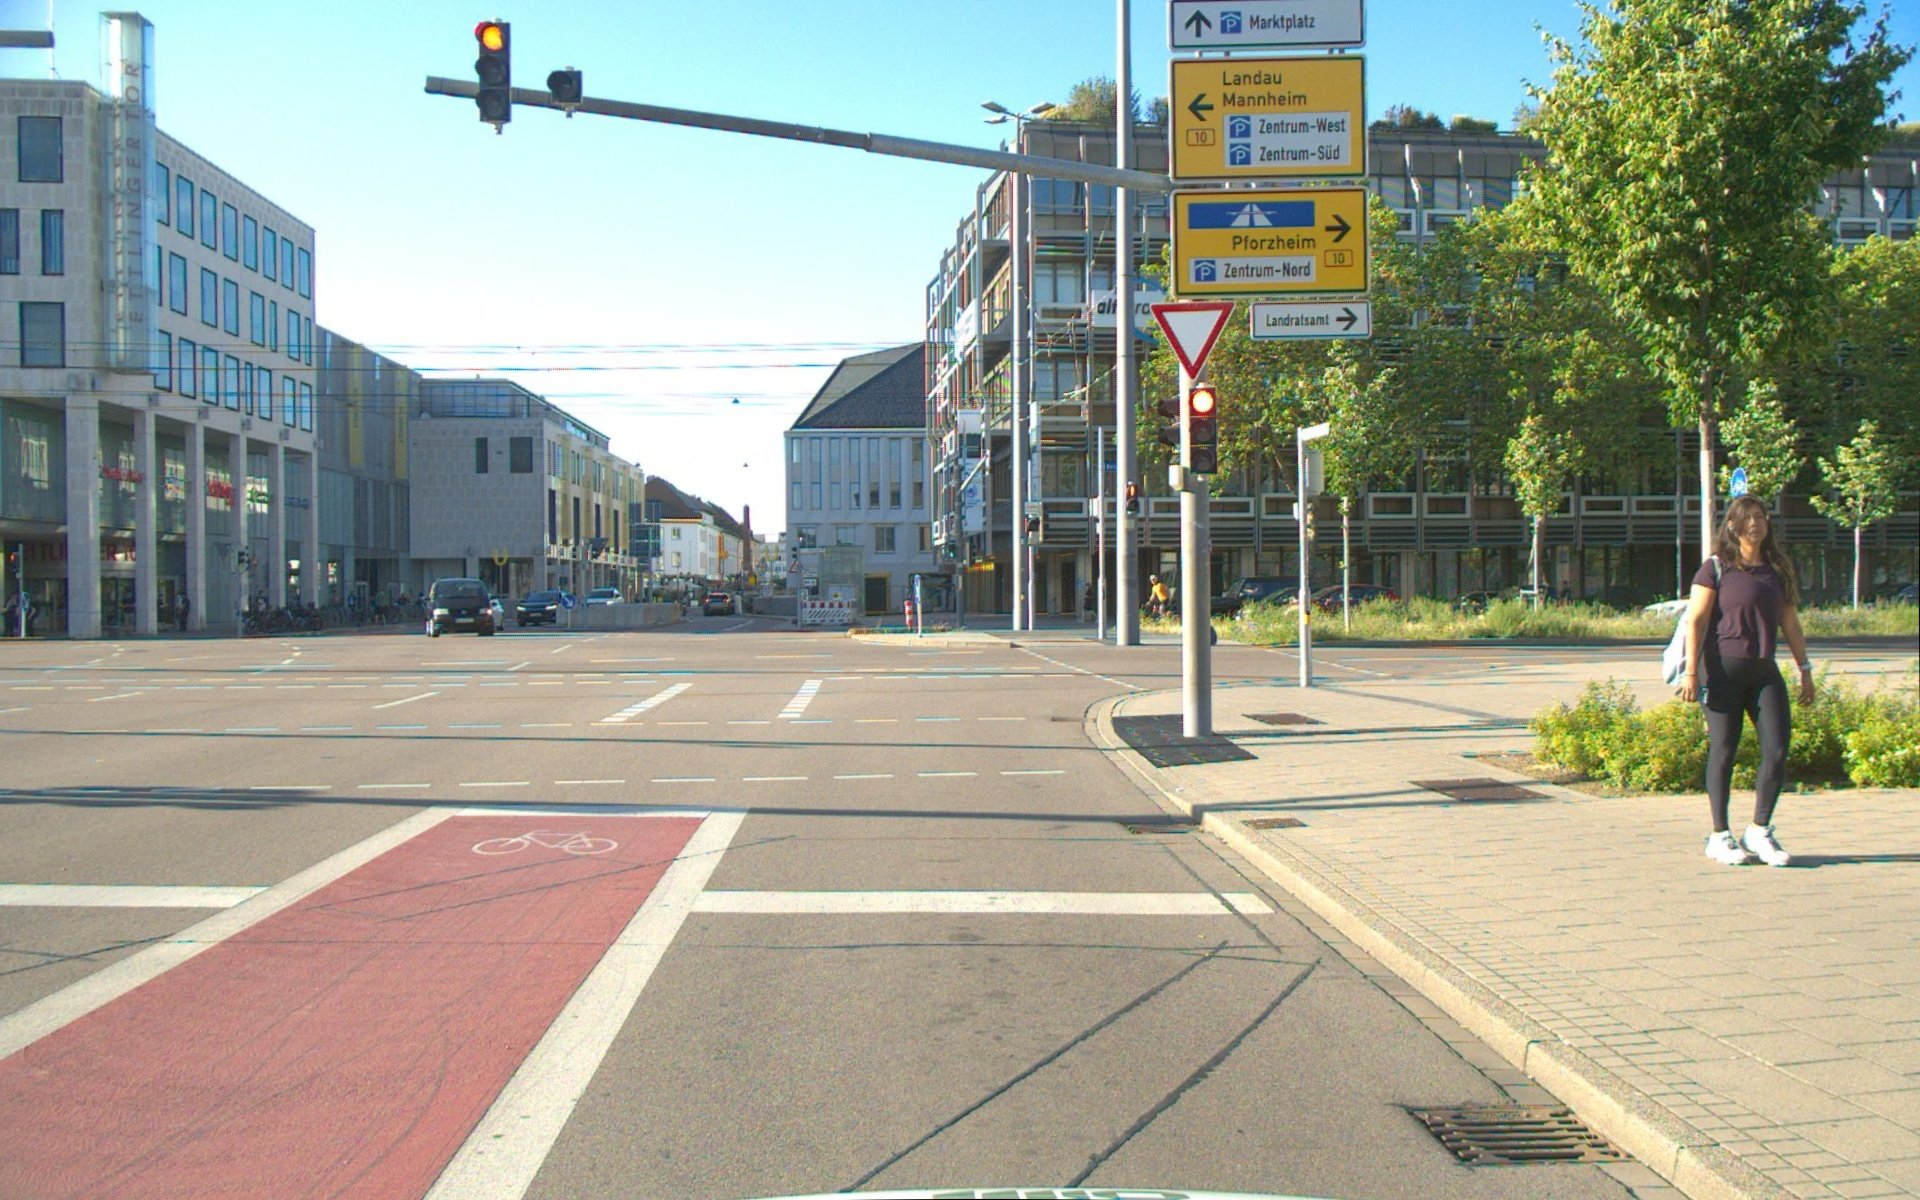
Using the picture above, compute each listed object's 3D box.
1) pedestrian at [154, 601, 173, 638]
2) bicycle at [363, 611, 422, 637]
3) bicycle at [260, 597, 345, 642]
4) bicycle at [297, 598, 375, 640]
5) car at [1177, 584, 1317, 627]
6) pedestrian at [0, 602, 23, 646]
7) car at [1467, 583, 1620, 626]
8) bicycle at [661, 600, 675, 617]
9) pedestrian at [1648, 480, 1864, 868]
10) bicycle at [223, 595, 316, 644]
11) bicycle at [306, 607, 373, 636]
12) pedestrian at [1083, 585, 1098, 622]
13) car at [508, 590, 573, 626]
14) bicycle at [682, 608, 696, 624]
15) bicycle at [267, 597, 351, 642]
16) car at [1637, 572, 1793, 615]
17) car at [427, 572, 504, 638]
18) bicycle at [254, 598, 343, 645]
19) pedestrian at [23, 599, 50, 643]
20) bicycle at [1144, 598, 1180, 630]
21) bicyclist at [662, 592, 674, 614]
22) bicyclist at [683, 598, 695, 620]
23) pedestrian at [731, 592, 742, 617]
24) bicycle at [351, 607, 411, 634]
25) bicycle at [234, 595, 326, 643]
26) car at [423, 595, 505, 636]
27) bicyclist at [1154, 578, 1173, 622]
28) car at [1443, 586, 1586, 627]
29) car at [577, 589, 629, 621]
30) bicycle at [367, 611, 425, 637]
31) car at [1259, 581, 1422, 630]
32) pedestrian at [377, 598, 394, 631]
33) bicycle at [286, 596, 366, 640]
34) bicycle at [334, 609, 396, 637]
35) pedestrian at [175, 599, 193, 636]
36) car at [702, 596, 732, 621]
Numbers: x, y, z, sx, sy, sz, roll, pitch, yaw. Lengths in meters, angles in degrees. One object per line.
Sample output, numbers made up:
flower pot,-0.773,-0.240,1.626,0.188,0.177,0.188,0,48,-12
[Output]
pedestrian,-35.505,0.859,73.755,0.618,1.636,0.645,-1,0,-38
bicycle,-32.462,1.381,94.638,2.992,1.425,0.901,-1,0,-6
bicycle,-31.063,0.905,78.203,3.551,2.049,1.085,-1,0,-6
bicycle,-31.401,0.956,83.272,3.551,2.049,0.901,-1,0,-6
car,10.137,0.175,58.661,4.541,1.380,1.998,-1,2,-6
pedestrian,-35.390,0.892,61.617,0.610,1.636,0.653,-1,0,-3
car,19.971,0.138,56.721,4.541,1.380,1.998,-1,2,-6
bicycle,-19.918,0.580,112.709,0.727,1.064,2.429,-1,1,-5
pedestrian,3.916,0.345,8.223,0.804,1.779,1.042,-2,0,19
bicycle,-30.239,0.837,72.490,3.555,2.049,1.084,-1,0,-10
bicycle,-31.587,1.087,84.243,2.992,1.425,0.901,-1,0,-6
pedestrian,5.561,0.135,70.560,0.609,1.545,0.654,-1,0,6
car,-18.791,0.324,74.229,1.953,1.557,4.035,0,1,-1
bicycle,-18.563,1.068,113.367,0.727,1.064,2.429,-1,1,-5
bicycle,-31.226,0.913,79.345,3.551,2.049,1.085,-1,0,-6
car,26.075,-0.242,57.196,4.541,1.380,1.998,-1,2,-6
car,-14.599,0.089,48.709,1.964,1.772,4.621,-1,2,-19
bicycle,-30.098,0.955,75.295,3.551,2.049,1.085,-1,0,-6
pedestrian,-34.398,0.783,61.611,0.610,1.636,0.653,-1,0,-3
bicycle,6.331,0.441,51.842,1.054,0.988,0.458,-1,0,0
bicyclist,-19.914,0.219,112.680,0.732,1.486,0.766,-1,0,-5
bicyclist,-18.585,0.639,113.427,0.732,1.486,0.766,-1,0,-5
pedestrian,-15.207,0.283,112.641,0.700,1.697,0.986,-1,0,-5
bicycle,-32.174,1.128,91.948,2.992,1.425,0.901,-1,0,-6
bicycle,-30.332,0.851,73.825,3.551,2.049,1.085,-1,0,-6
car,-19.012,0.575,63.624,1.954,1.380,4.644,-1,2,-3
bicyclist,6.378,-0.004,51.846,0.498,1.361,0.452,-1,0,0
car,20.191,0.211,60.346,4.541,1.380,1.998,-1,2,-6
car,-19.377,0.233,89.844,1.953,1.651,4.237,-1,1,-1
bicycle,-32.633,1.410,95.729,2.992,1.425,0.901,-1,0,-6
car,11.721,0.151,51.080,4.541,1.380,1.998,-1,2,-6
pedestrian,-29.288,0.733,84.315,0.734,1.636,0.619,-1,0,-30
bicycle,-31.200,0.870,81.437,3.551,2.049,0.901,-1,0,-6
bicycle,-31.888,1.239,88.658,2.992,1.425,0.901,-1,0,-6
pedestrian,-34.945,0.784,74.477,0.618,1.636,0.645,-1,0,-38
car,-16.527,0.557,112.406,1.956,1.579,3.993,-1,1,-8
